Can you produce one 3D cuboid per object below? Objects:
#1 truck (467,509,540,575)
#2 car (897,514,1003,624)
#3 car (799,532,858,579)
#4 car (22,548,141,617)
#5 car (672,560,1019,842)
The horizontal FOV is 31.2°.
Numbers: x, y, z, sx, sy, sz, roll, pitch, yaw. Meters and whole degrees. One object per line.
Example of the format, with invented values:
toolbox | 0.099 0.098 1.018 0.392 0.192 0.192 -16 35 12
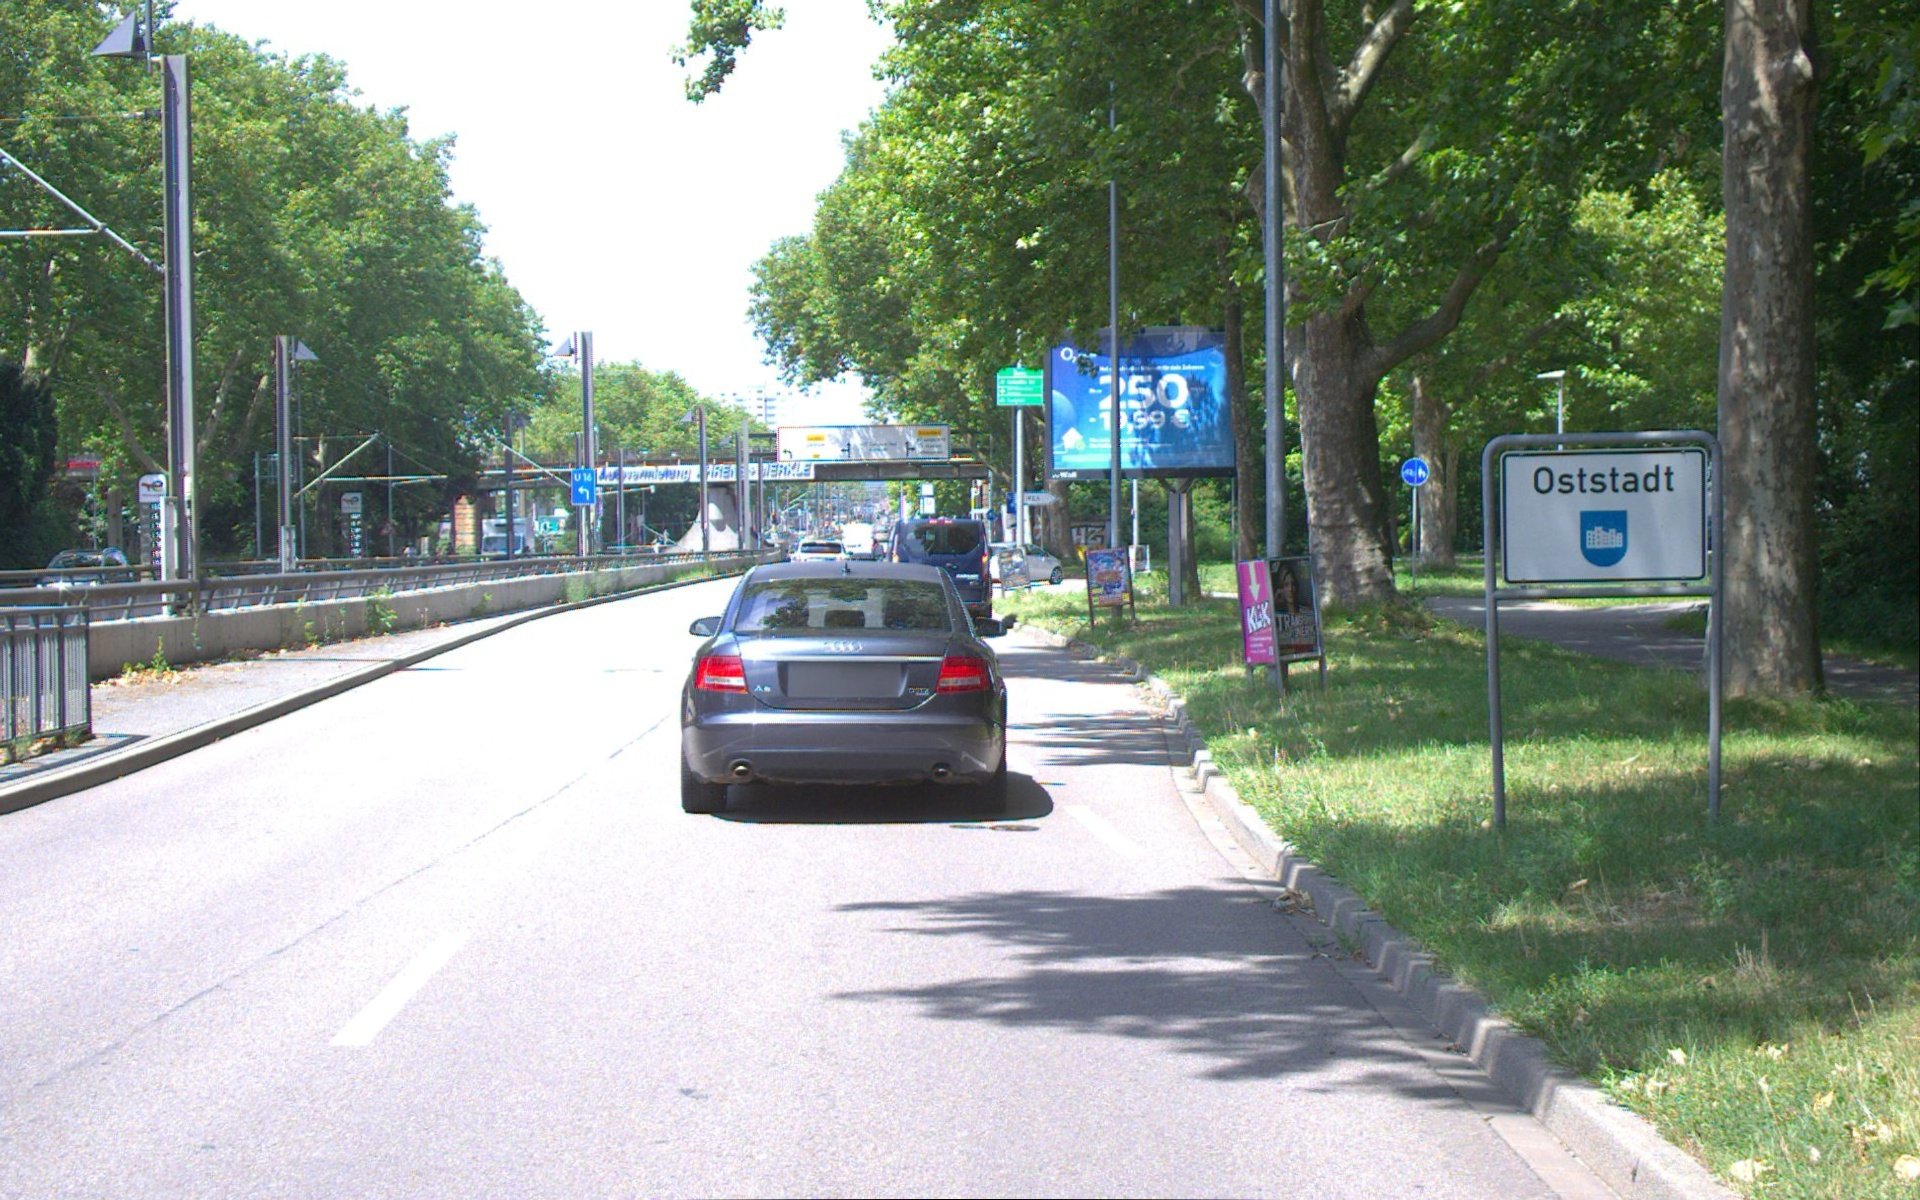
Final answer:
truck | -21.304 -2.717 160.831 2.990 3.010 8.002 0 1 -5
car | -0.158 -0.588 63.982 1.848 1.953 4.144 1 1 1
car | -4.184 -1.423 108.961 1.845 1.459 4.001 0 1 -3
car | -23.216 -0.478 91.027 1.868 1.678 4.384 3 1 1
car | -0.756 0.508 20.210 1.842 1.479 4.001 0 1 -4
